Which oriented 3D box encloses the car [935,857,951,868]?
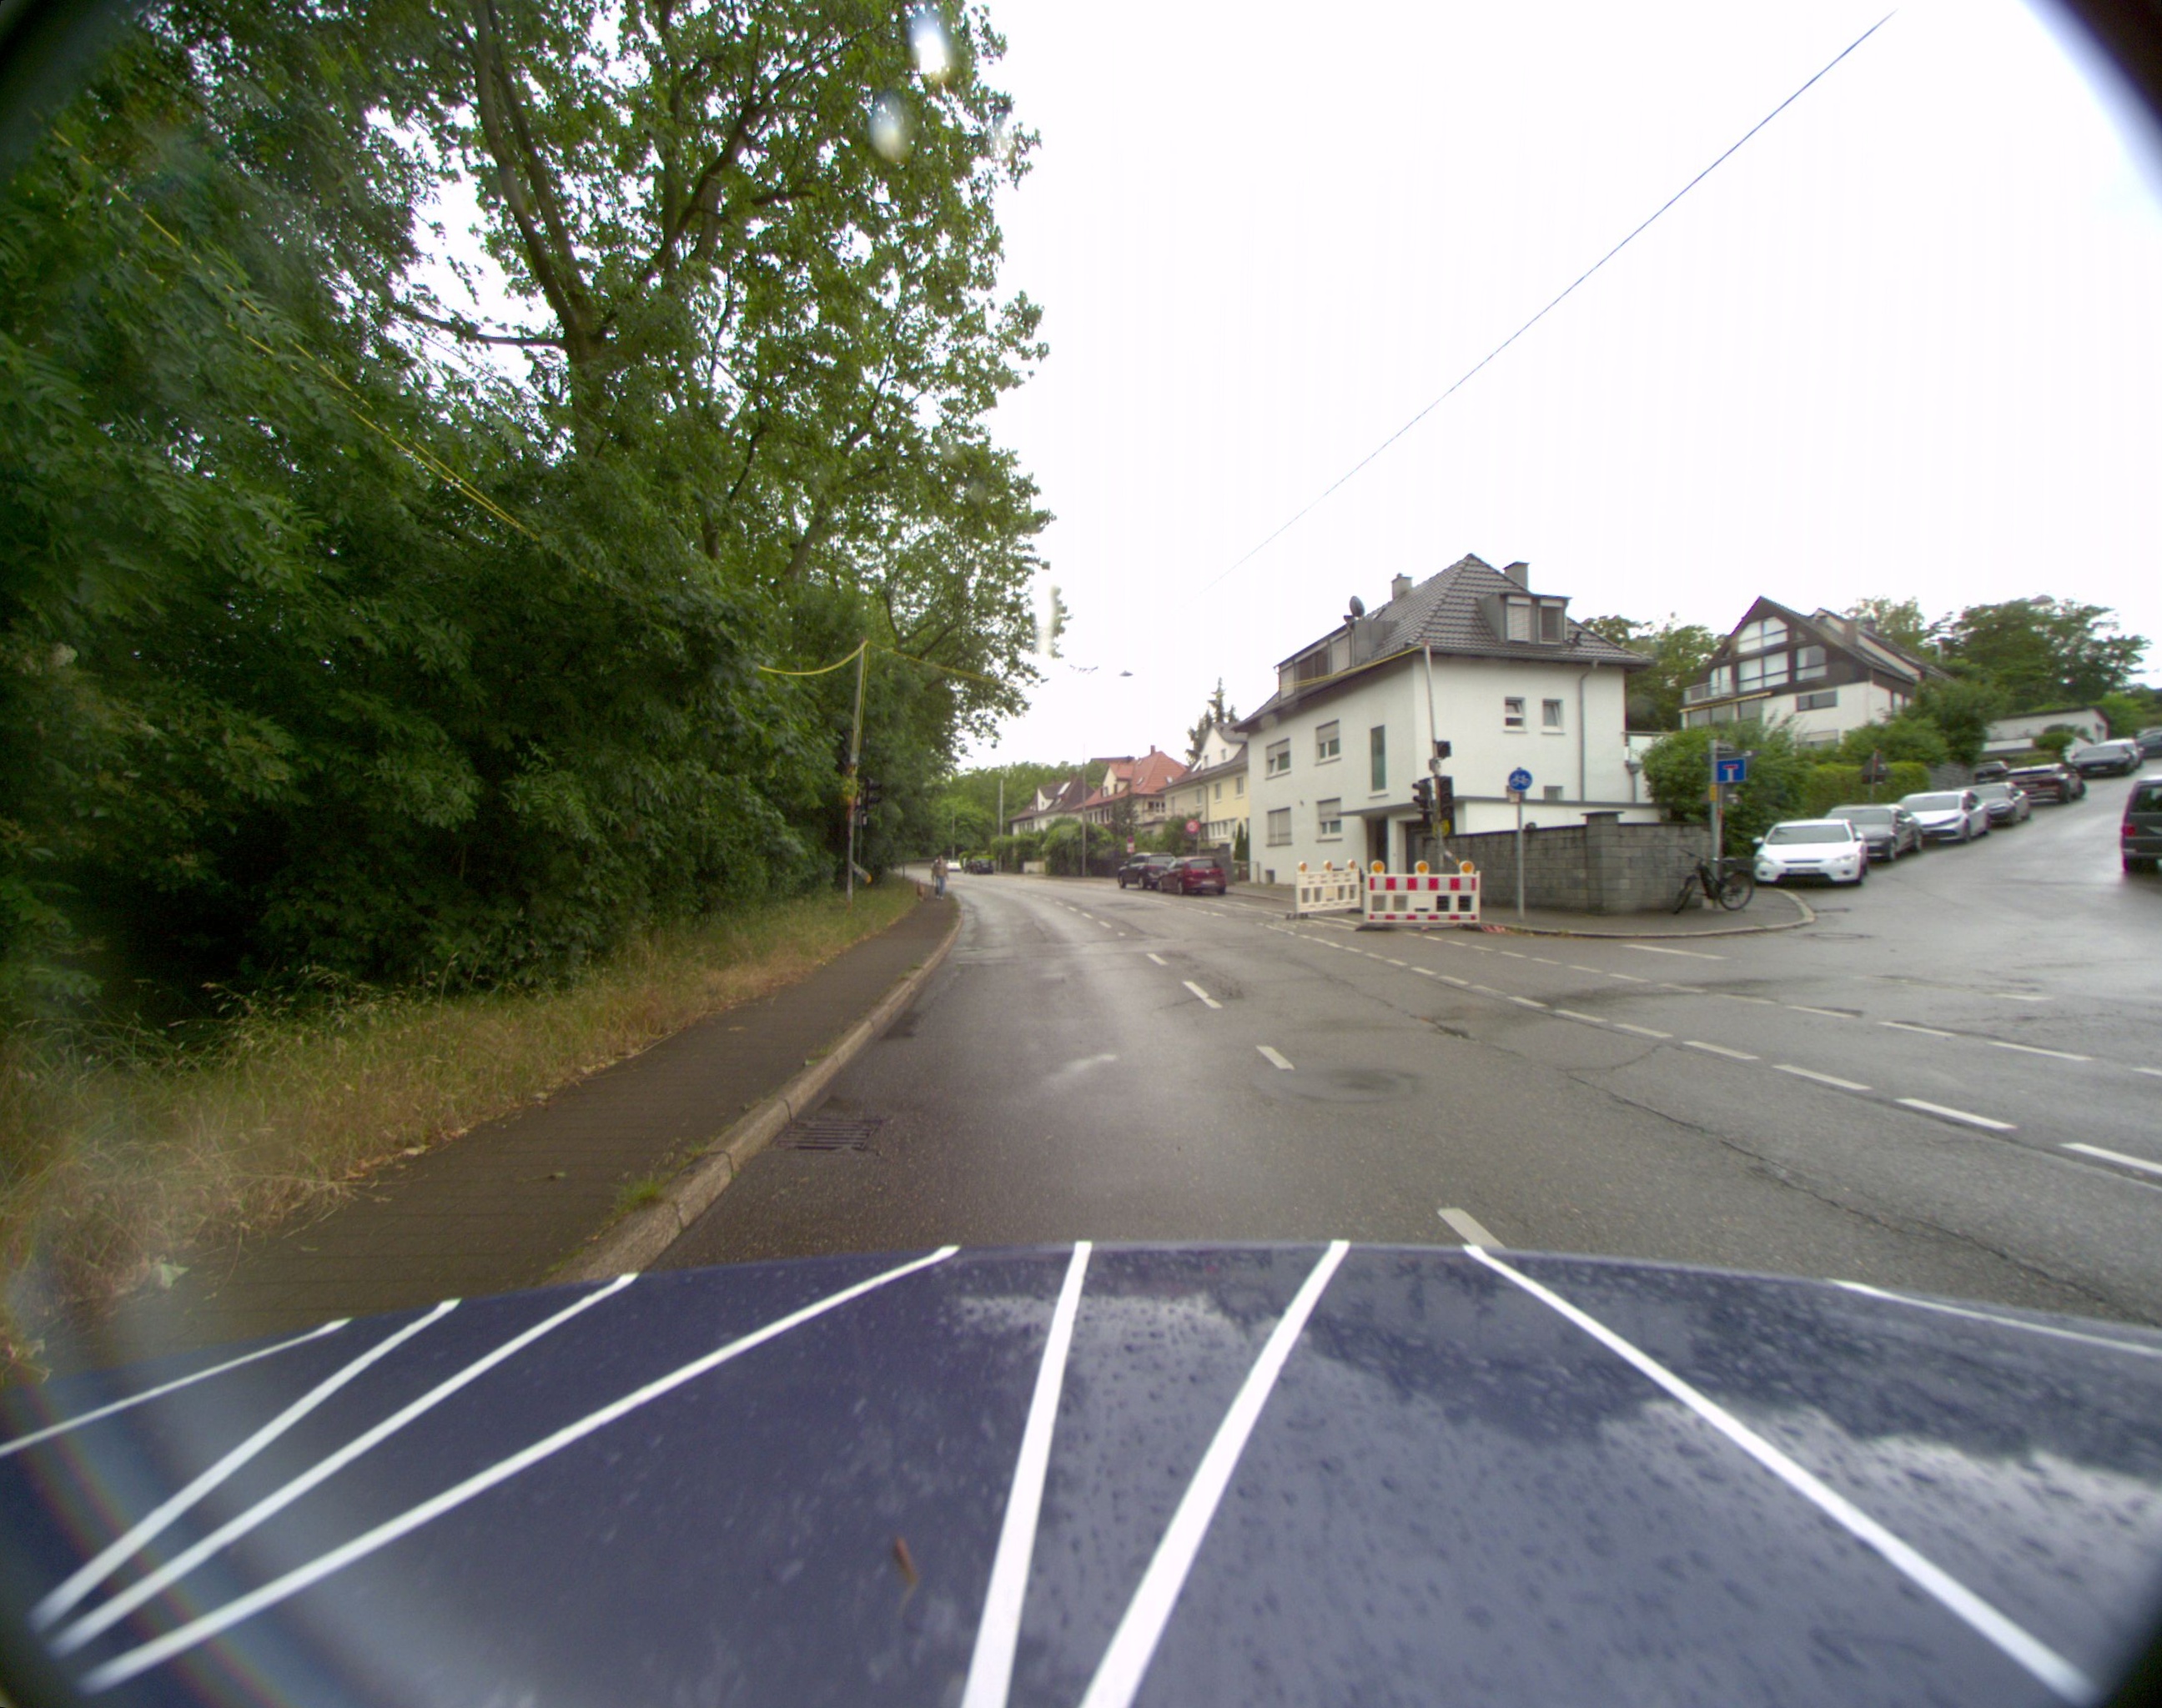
[{"bbox_3d":[-18.740,1.133,103.007,1.691,1.419,3.770,-2,0,-17],"label":"car"}]

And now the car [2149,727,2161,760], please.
[{"bbox_3d":[72.466,-7.446,48.974,2.003,2.000,3.993,-2,-4,-32],"label":"car"}]

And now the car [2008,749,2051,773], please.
[{"bbox_3d":[57.240,-5.637,45.858,3.656,1.205,1.577,-7,3,-38],"label":"car"}]

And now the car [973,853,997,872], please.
[{"bbox_3d":[-9.607,0.843,75.950,1.882,1.814,4.121,-2,0,-14],"label":"car"}]

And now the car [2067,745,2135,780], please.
[{"bbox_3d":[54.816,-4.879,40.834,4.034,1.511,1.786,-2,0,-31],"label":"car"}]

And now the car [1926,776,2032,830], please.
[{"bbox_3d":[32.327,-1.831,27.327,4.111,1.430,1.921,-9,4,-33],"label":"car"}]

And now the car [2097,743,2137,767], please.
[{"bbox_3d":[59.838,-5.741,43.891,2.988,1.191,1.305,-6,3,-35],"label":"car"}]

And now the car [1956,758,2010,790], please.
[{"bbox_3d":[52.868,-4.648,44.510,4.020,1.545,1.812,-3,1,-37],"label":"car"}]

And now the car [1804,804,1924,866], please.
[{"bbox_3d":[22.464,-0.558,21.752,3.910,1.380,1.719,-7,3,-34],"label":"car"}]

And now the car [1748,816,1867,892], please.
[{"bbox_3d":[17.777,-0.048,18.531,4.126,1.455,1.849,-7,4,-43],"label":"car"}]

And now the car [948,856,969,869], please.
[{"bbox_3d":[-15.232,1.073,94.171,2.071,1.477,4.556,-2,0,-16],"label":"car"}]

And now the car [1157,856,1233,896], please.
[{"bbox_3d":[4.383,0.818,29.900,1.787,1.423,3.844,-2,0,-10],"label":"car"}]

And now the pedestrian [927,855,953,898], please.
[{"bbox_3d":[-5.138,0.808,27.797,0.735,1.490,0.785,-3,1,-1],"label":"pedestrian"}]

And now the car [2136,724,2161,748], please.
[{"bbox_3d":[81.120,-8.866,55.952,1.754,1.508,3.961,-3,1,-35],"label":"car"}]

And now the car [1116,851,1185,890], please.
[{"bbox_3d":[3.130,0.732,35.027,1.798,1.630,4.150,-1,0,-15],"label":"car"}]

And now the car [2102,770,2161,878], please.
[{"bbox_3d":[23.883,-0.751,16.255,4.497,2.003,1.996,-7,3,-31],"label":"car"}]

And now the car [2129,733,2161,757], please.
[{"bbox_3d":[68.326,-6.936,47.690,1.286,1.310,2.945,-3,1,-36],"label":"car"}]

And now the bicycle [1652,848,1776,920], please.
[{"bbox_3d":[11.587,0.537,13.929,2.006,1.232,0.510,-2,3,-8],"label":"bicycle"}]

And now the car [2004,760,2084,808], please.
[{"bbox_3d":[40.720,-2.983,32.106,4.004,1.617,1.638,-8,4,-32],"label":"car"}]

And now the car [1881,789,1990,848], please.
[{"bbox_3d":[27.270,-1.152,24.225,3.951,1.462,1.755,-7,3,-33],"label":"car"}]
